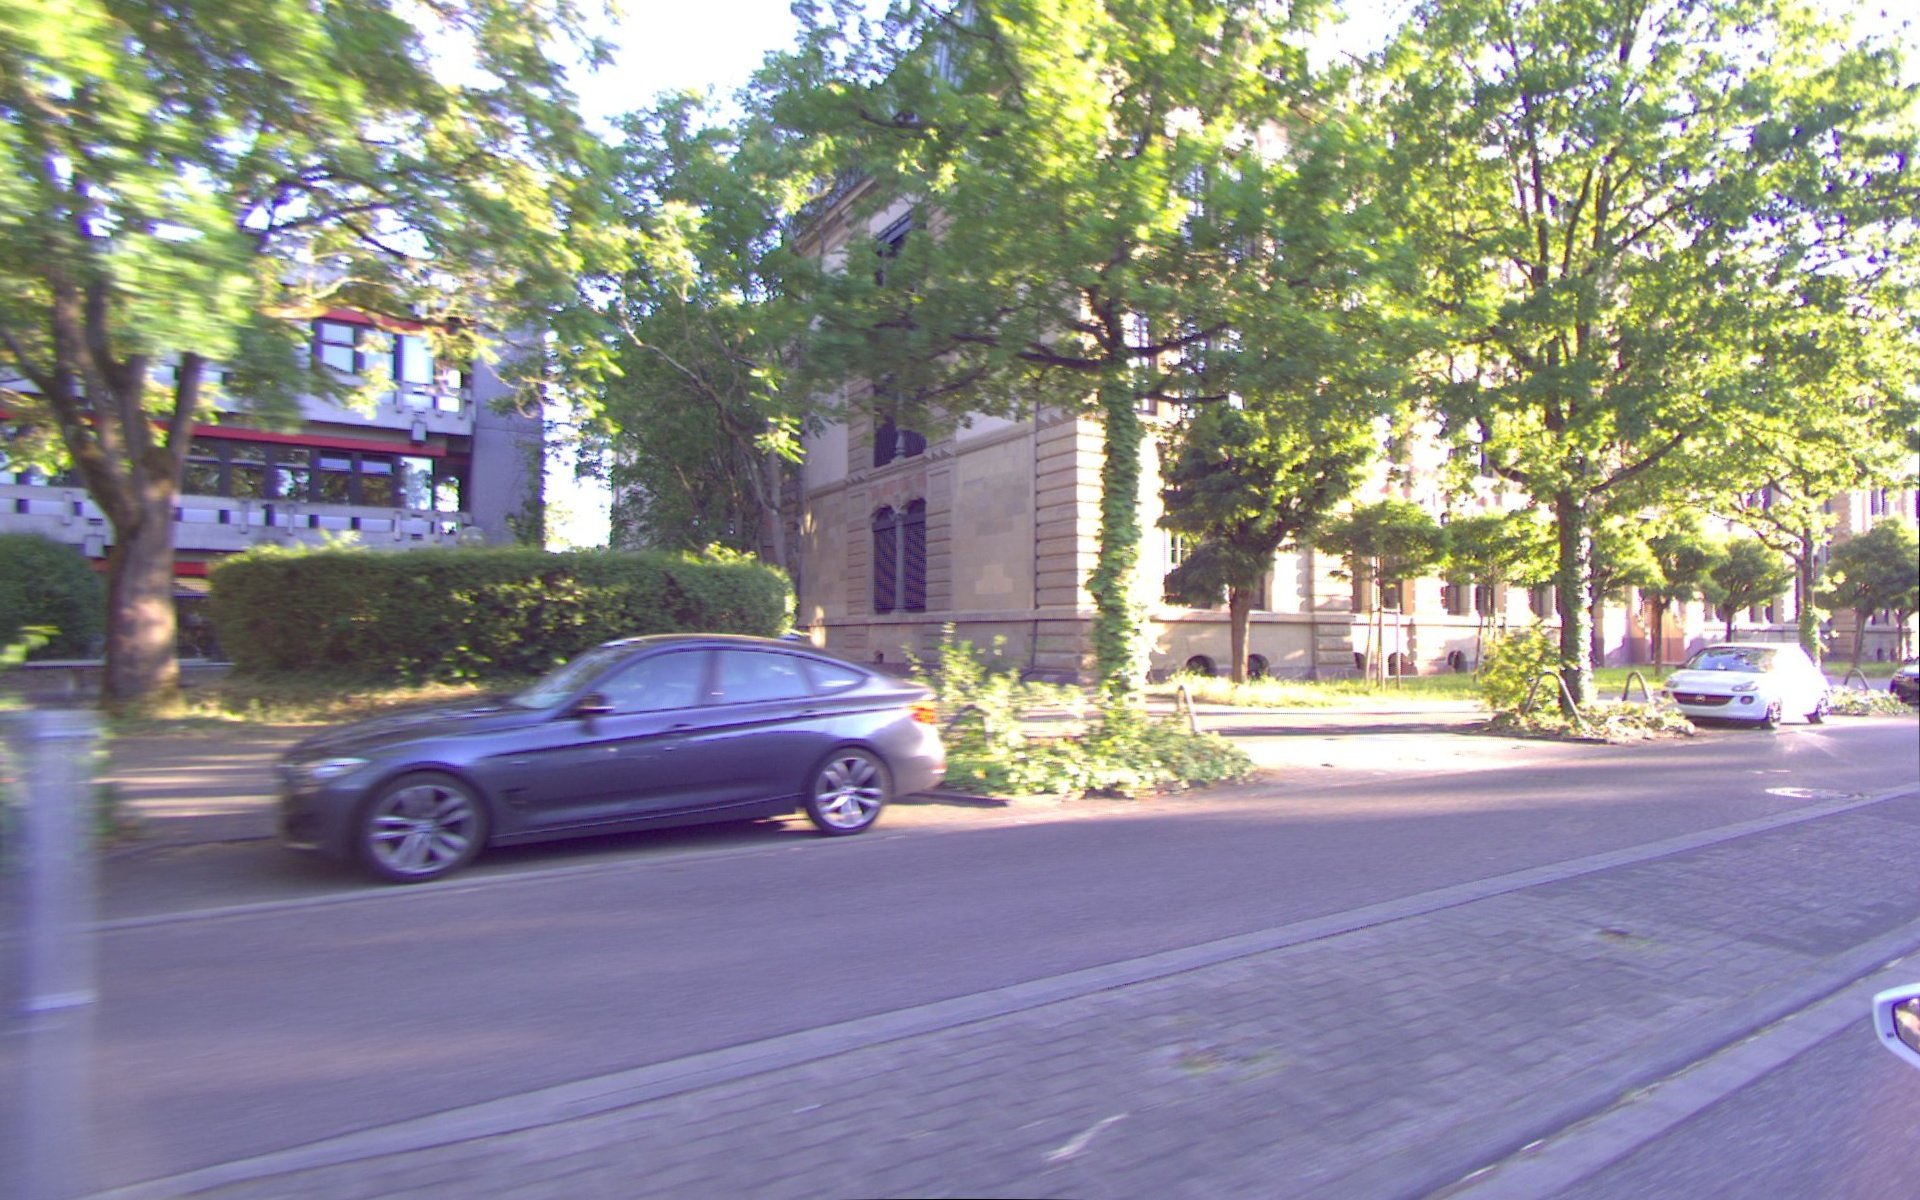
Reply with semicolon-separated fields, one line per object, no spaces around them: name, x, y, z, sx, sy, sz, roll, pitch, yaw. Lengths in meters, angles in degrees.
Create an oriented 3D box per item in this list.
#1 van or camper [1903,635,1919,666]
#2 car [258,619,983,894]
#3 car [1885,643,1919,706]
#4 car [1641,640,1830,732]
van or camper;67.804;3.471;68.434;1.976;2.012;4.747;-3;0;-30
car;-2.322;0.956;7.658;4.808;1.530;1.793;2;-2;-32
car;25.178;1.873;25.399;4.330;1.516;1.608;2;-2;-33
car;14.444;1.531;18.659;3.882;1.516;1.608;2;-2;-33
